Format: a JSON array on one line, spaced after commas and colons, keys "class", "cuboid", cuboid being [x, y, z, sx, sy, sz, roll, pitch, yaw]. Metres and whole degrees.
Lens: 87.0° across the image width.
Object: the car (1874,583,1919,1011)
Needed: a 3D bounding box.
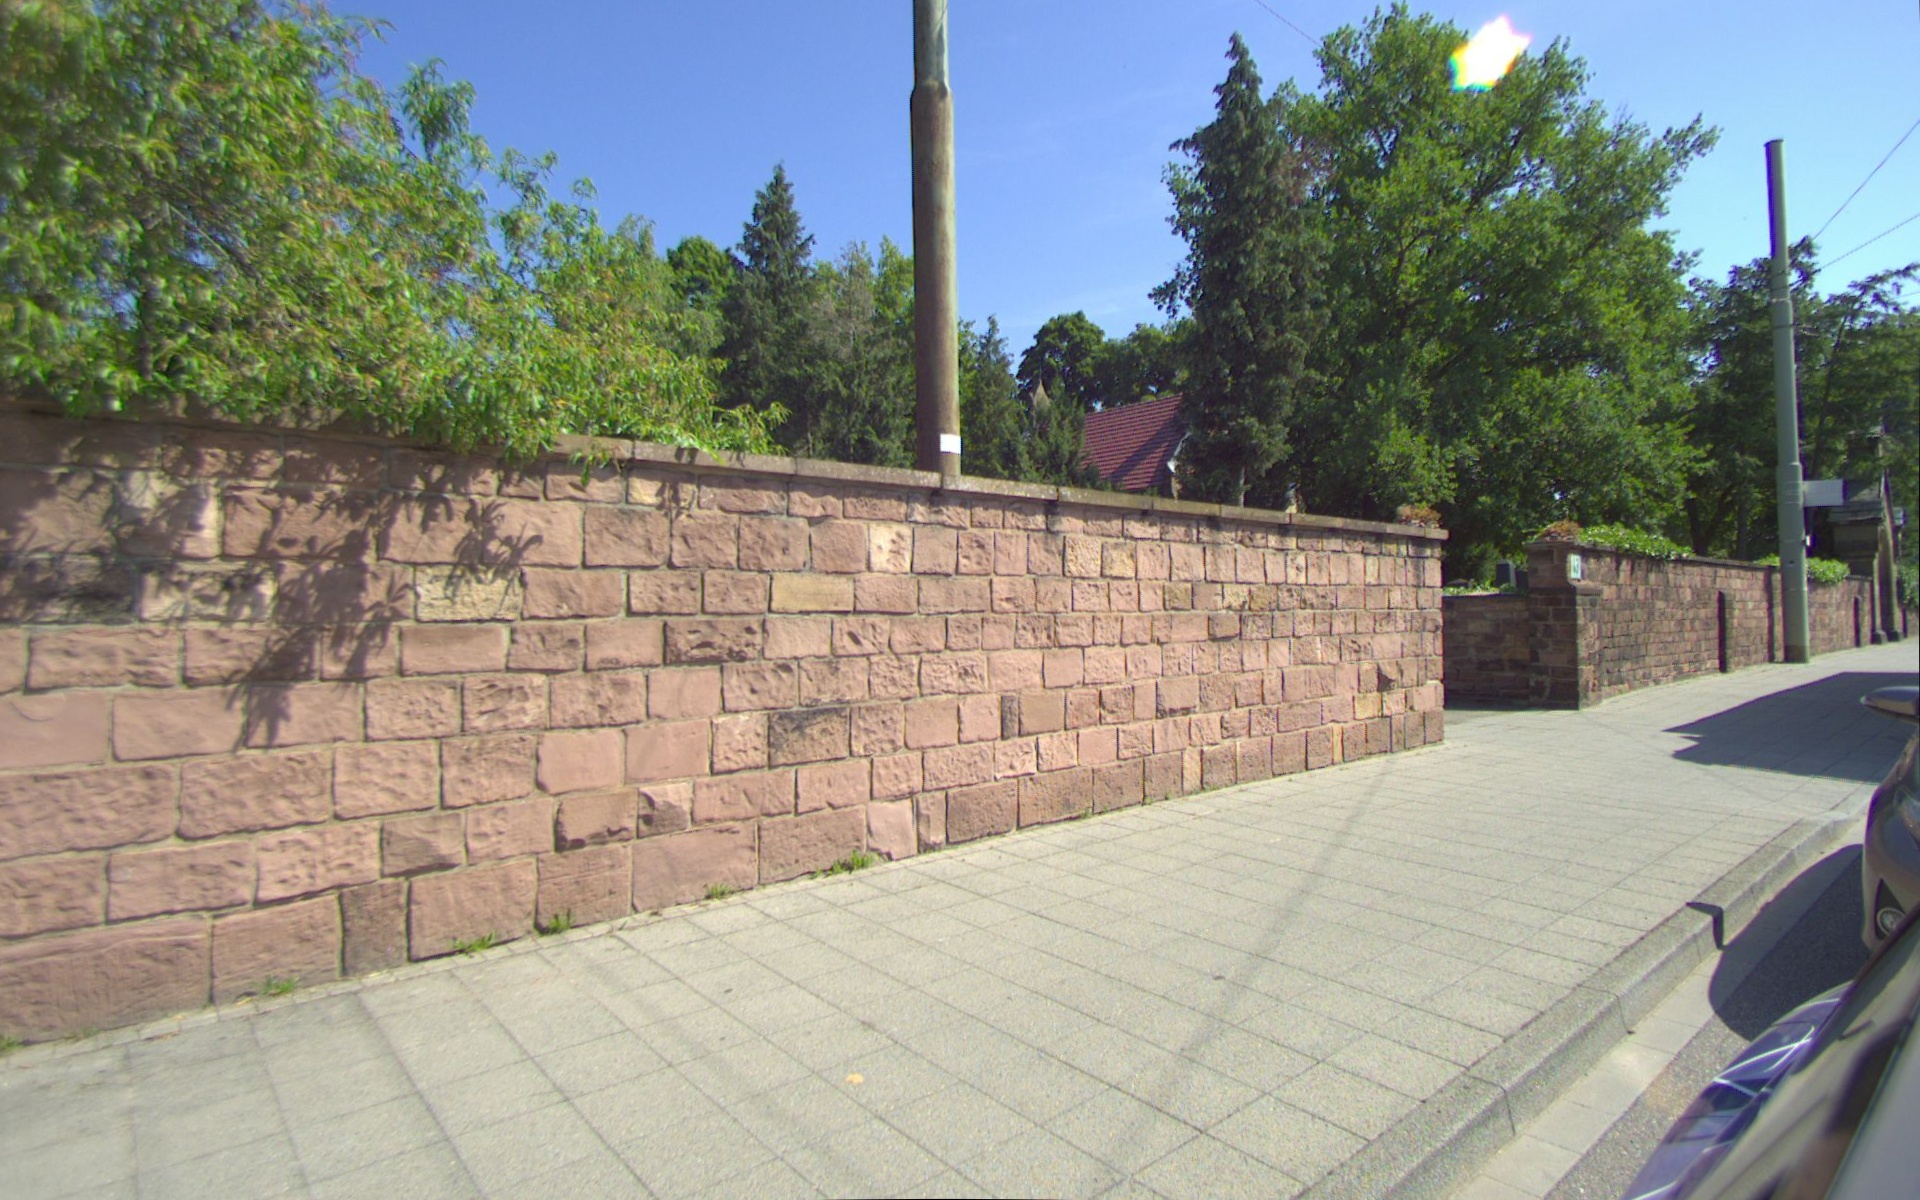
[{"class": "car", "cuboid": [5.075, 0.641, 4.059, 3.930, 1.400, 1.653, 0, 0, -41]}]
